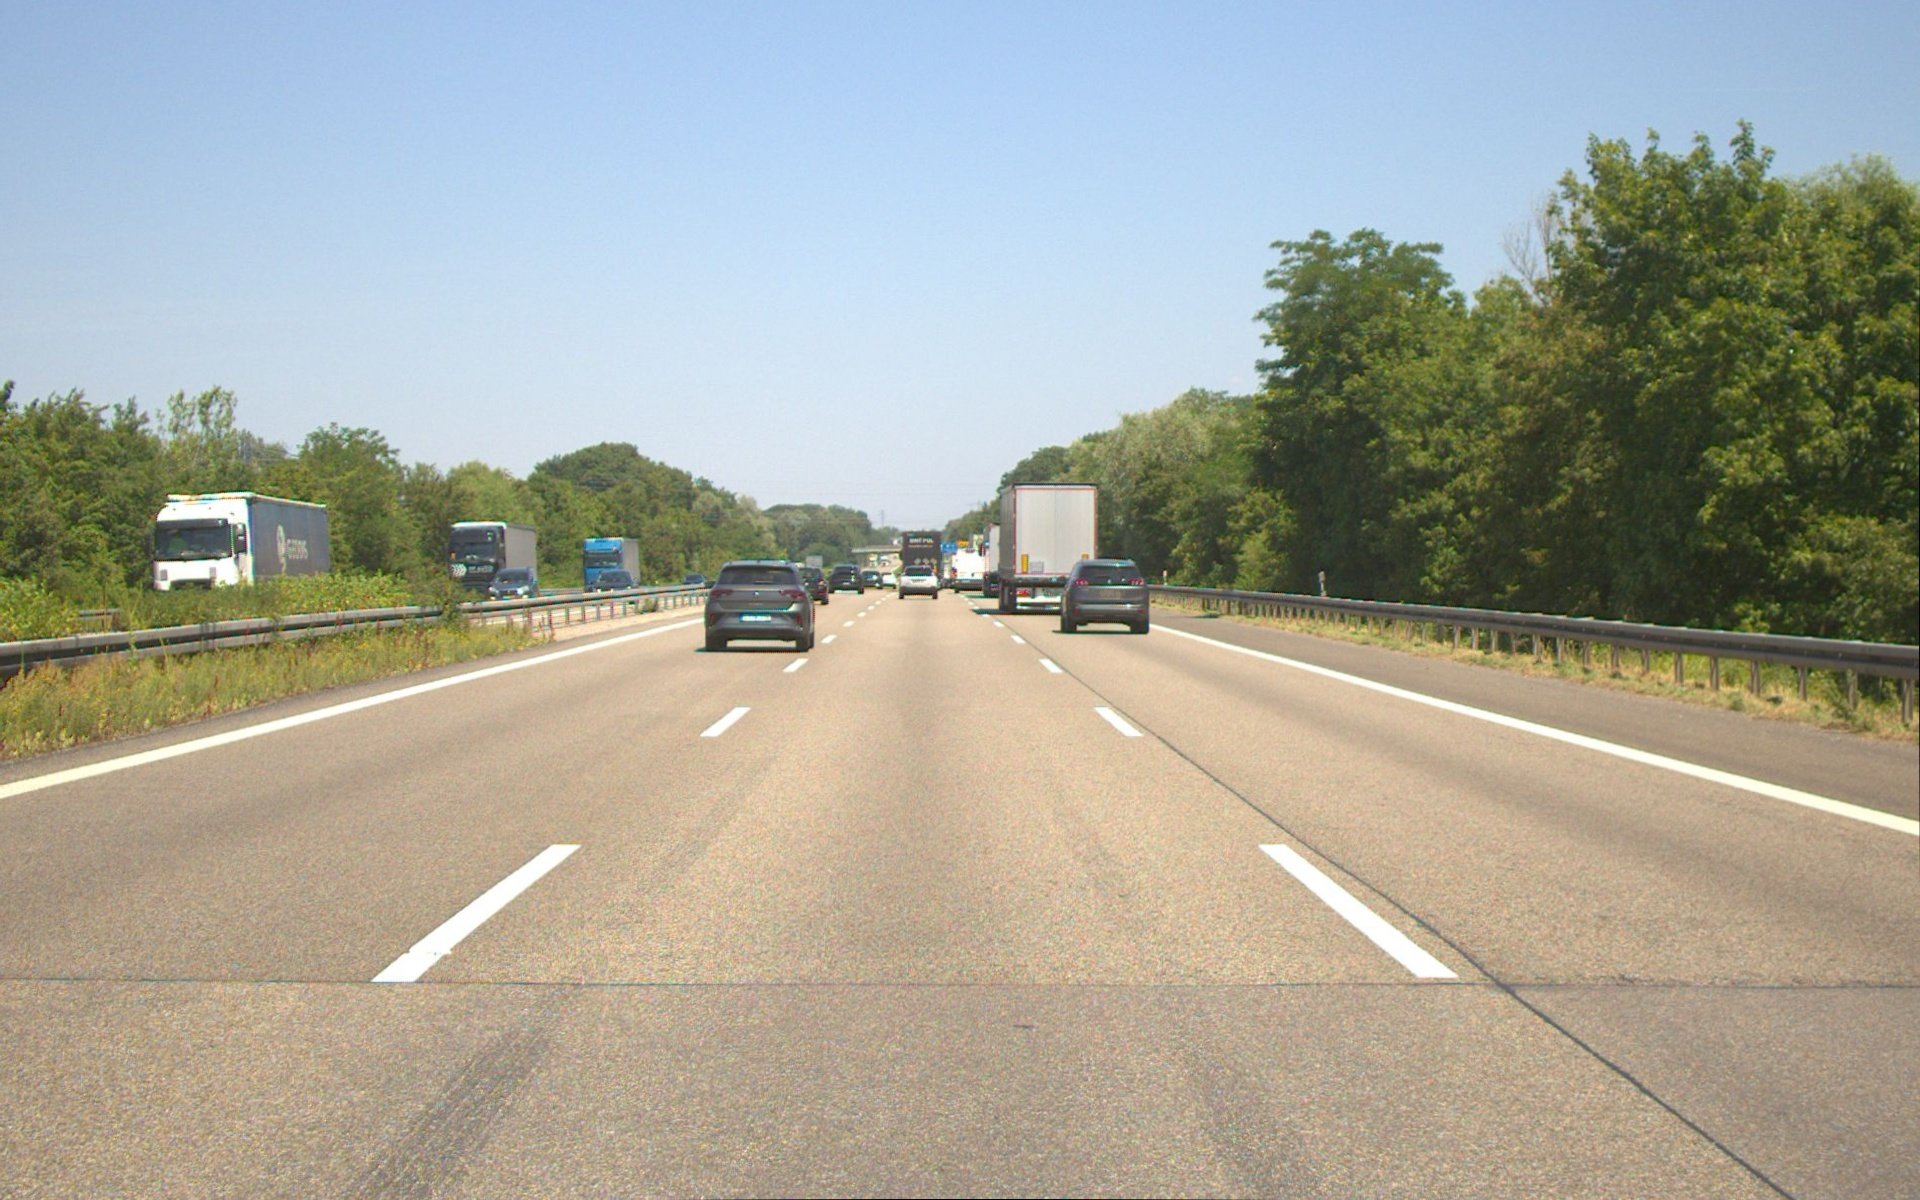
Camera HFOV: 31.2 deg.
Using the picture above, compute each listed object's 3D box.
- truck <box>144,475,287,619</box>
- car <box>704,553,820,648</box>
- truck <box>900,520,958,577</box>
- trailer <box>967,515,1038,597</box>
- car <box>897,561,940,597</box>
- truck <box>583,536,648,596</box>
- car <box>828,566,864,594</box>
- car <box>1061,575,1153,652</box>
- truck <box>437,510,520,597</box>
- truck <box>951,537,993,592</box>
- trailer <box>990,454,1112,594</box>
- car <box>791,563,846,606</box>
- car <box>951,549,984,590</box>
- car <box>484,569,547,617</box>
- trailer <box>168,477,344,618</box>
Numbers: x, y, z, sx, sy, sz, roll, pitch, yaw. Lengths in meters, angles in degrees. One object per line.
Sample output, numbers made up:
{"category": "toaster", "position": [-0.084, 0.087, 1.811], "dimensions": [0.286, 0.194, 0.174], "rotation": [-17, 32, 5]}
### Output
{"category": "truck", "position": [-22.574, -1.570, 104.529], "dimensions": [2.916, 4.115, 6.194], "rotation": [-3, 0, -1]}
{"category": "car", "position": [-3.384, -0.024, 59.449], "dimensions": [1.759, 1.525, 4.286], "rotation": [1, 1, 0]}
{"category": "truck", "position": [-2.018, -3.470, 230.067], "dimensions": [3.667, 3.713, 7.108], "rotation": [1, 1, 1]}
{"category": "trailer", "position": [2.071, -2.209, 171.279], "dimensions": [3.122, 3.913, 9.937], "rotation": [1, 1, -1]}
{"category": "car", "position": [-1.901, -0.973, 158.159], "dimensions": [1.900, 1.525, 4.084], "rotation": [1, 1, 0]}
{"category": "truck", "position": [-23.220, -2.321, 232.145], "dimensions": [3.252, 3.972, 8.727], "rotation": [0, 1, 2]}
{"category": "car", "position": [-6.499, -1.137, 196.755], "dimensions": [1.907, 1.525, 4.286], "rotation": [1, 1, 0]}
{"category": "car", "position": [3.228, 0.274, 76.333], "dimensions": [1.845, 1.623, 4.135], "rotation": [0, 1, 0]}
{"category": "truck", "position": [-23.213, -2.265, 165.909], "dimensions": [3.197, 4.115, 6.194], "rotation": [0, 1, -1]}
{"category": "truck", "position": [0.862, -2.471, 236.146], "dimensions": [2.792, 3.713, 7.108], "rotation": [1, 1, 1]}
{"category": "trailer", "position": [2.801, -2.320, 110.183], "dimensions": [3.434, 4.167, 13.632], "rotation": [1, 0, 0]}
{"category": "car", "position": [-5.381, -0.615, 131.066], "dimensions": [1.900, 1.525, 4.084], "rotation": [1, 1, 0]}
{"category": "car", "position": [0.449, -1.843, 206.622], "dimensions": [1.907, 2.417, 4.286], "rotation": [1, 1, 0]}
{"category": "car", "position": [-19.033, -0.304, 147.323], "dimensions": [2.228, 1.982, 5.357], "rotation": [0, 1, -3]}
{"category": "trailer", "position": [-22.665, -1.651, 111.542], "dimensions": [2.919, 4.172, 13.542], "rotation": [-2, 0, -1]}
